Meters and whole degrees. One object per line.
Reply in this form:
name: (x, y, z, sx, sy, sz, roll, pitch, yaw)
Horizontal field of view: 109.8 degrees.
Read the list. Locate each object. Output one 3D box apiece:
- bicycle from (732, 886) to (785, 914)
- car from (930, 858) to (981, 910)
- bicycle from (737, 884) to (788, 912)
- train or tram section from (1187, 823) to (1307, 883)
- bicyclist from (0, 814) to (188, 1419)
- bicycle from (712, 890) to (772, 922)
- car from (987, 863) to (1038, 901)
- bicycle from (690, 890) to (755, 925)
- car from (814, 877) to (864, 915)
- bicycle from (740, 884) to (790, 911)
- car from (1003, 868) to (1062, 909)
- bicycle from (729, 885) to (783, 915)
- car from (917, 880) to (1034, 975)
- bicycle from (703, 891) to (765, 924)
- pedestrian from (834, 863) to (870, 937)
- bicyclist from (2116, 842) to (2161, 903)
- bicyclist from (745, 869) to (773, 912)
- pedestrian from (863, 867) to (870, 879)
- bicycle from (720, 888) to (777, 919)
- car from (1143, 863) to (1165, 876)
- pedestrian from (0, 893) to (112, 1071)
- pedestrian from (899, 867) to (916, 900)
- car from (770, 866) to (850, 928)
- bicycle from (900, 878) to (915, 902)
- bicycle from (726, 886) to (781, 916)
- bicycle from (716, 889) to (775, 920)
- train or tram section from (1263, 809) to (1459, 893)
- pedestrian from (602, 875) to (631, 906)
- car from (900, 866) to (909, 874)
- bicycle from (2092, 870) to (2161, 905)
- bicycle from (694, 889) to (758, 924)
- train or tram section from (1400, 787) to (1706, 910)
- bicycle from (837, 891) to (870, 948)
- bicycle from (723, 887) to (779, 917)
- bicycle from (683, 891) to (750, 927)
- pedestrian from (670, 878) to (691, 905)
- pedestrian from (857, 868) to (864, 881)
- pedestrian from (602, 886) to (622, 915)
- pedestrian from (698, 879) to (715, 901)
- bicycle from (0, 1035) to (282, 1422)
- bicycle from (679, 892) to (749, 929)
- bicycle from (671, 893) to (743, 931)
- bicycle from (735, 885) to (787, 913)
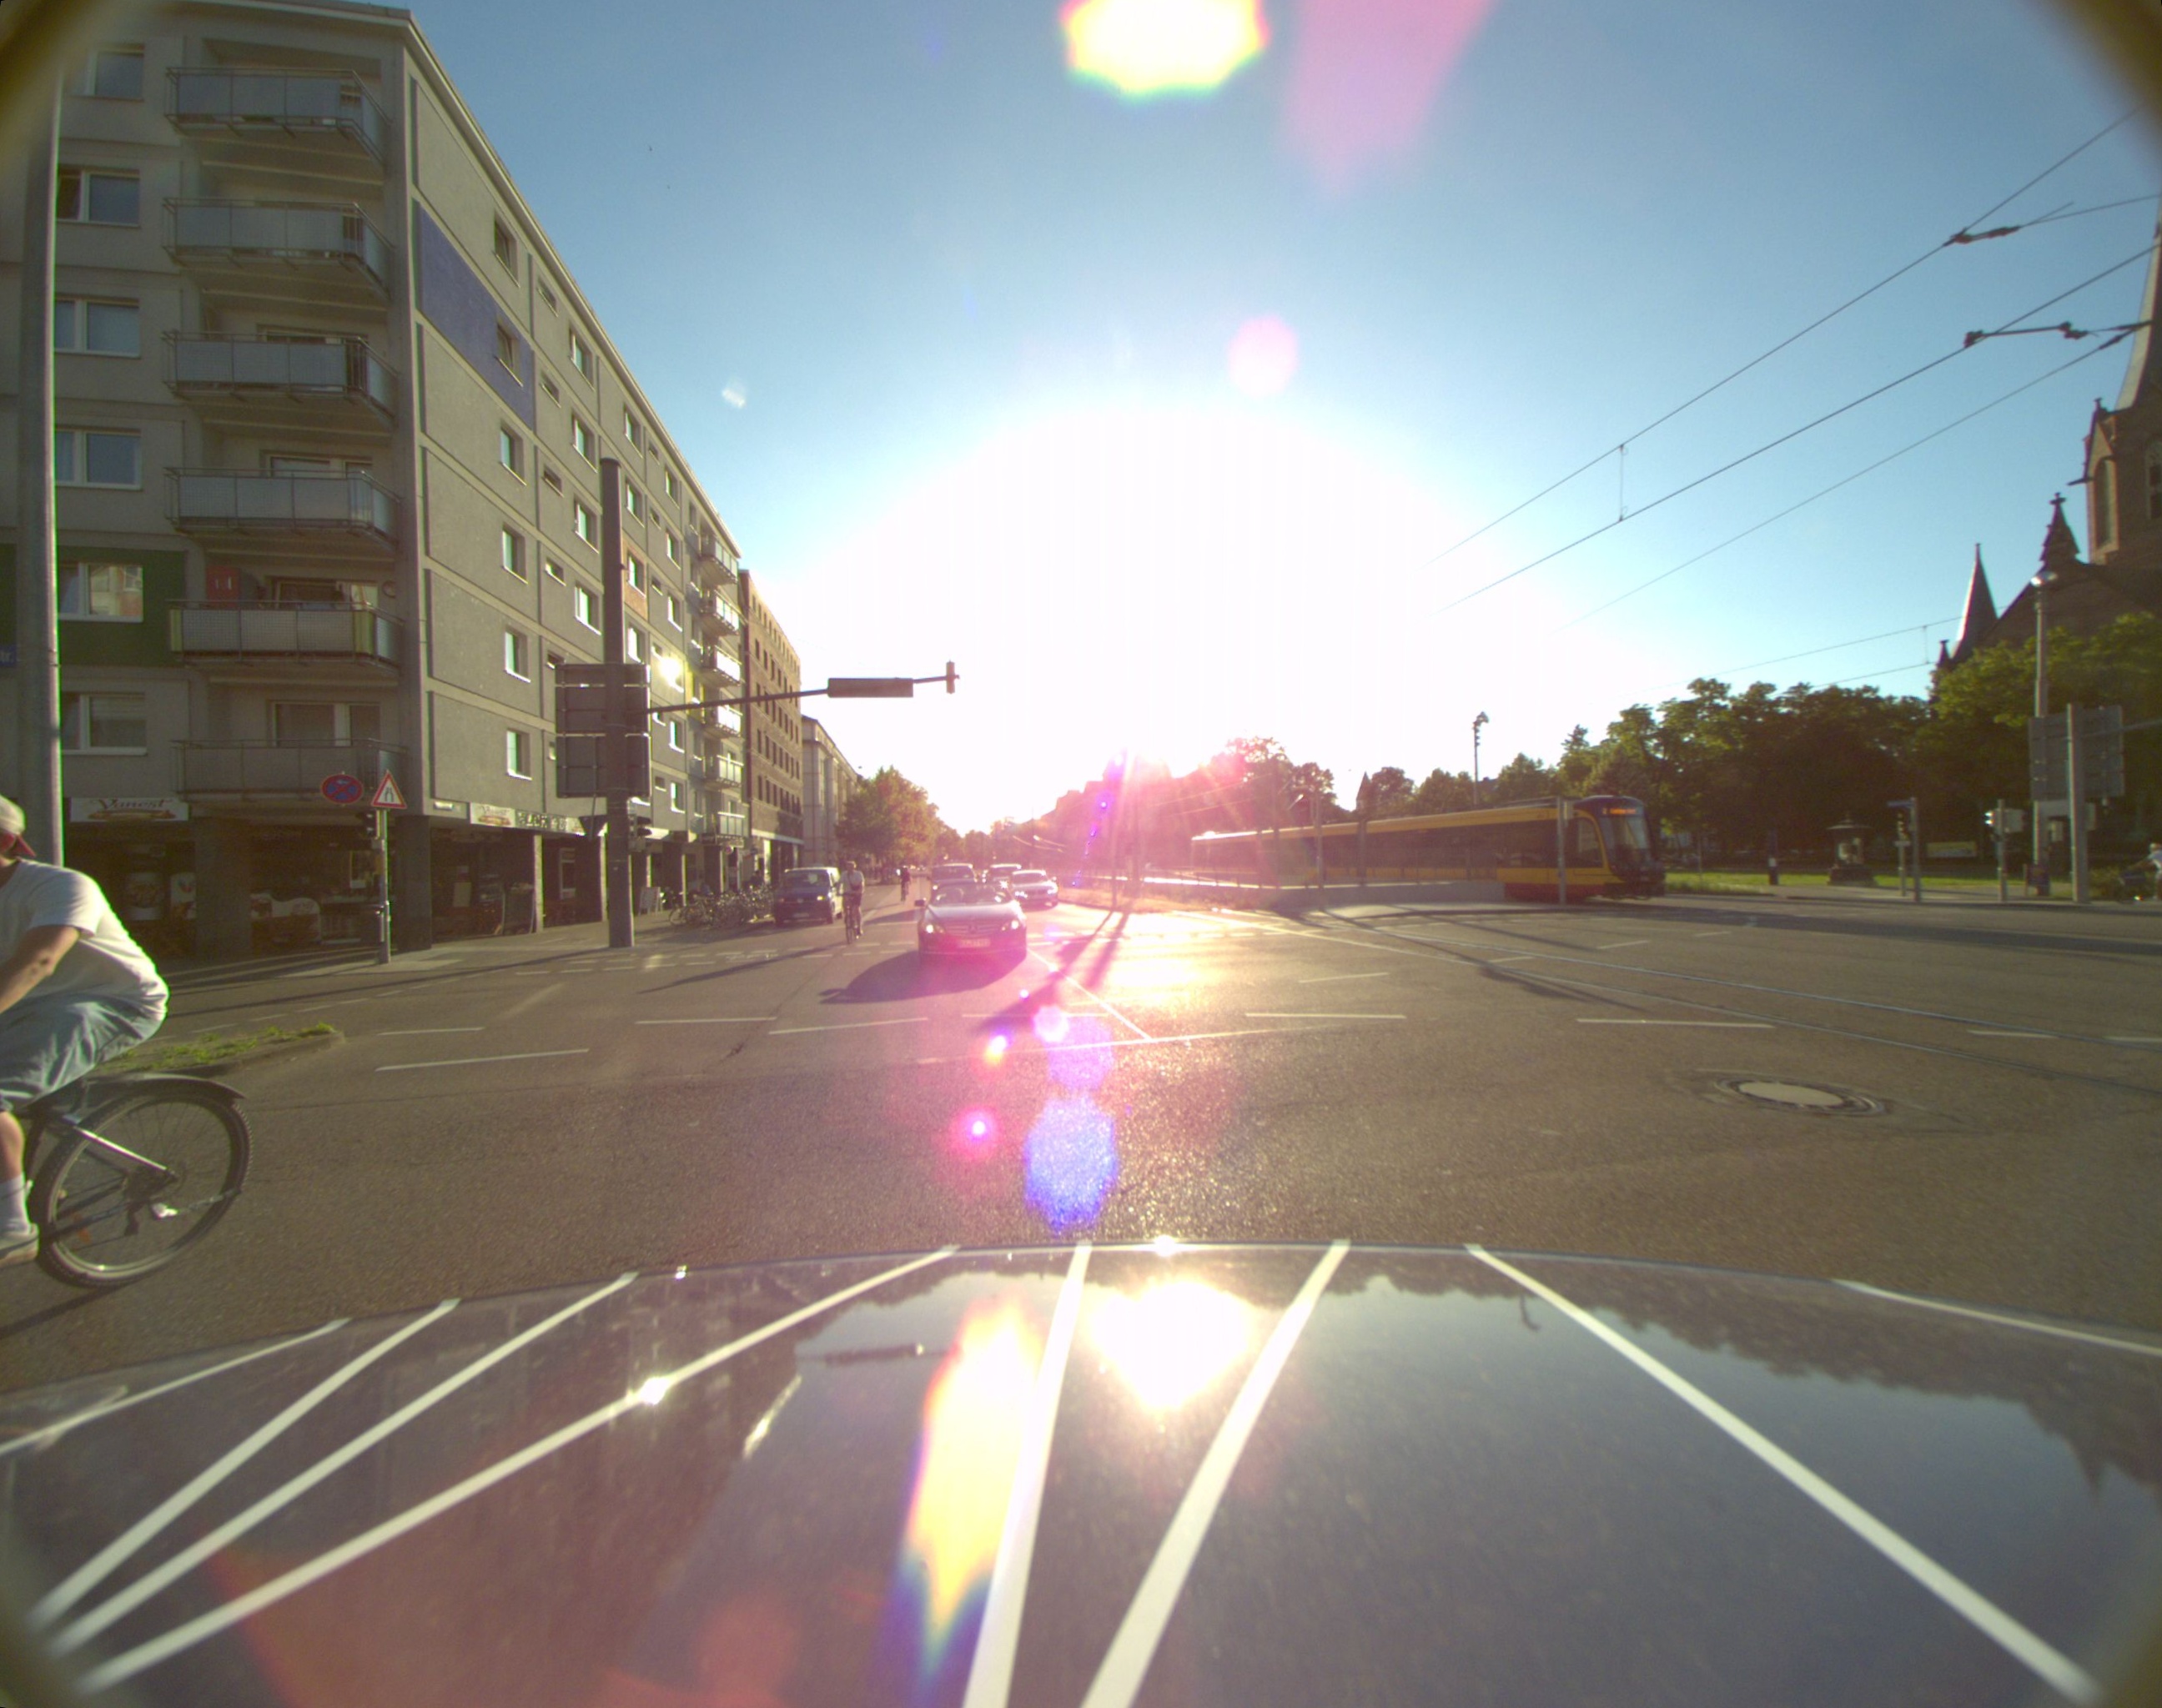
bicycle: (-12.941, 1.844, 30.507, 1.875, 1.119, 0.567, 1, 0, -15)
car: (-5.489, 1.220, 32.781, 1.922, 1.978, 4.942, -2, 0, -12)
bicycle: (-13.230, 1.828, 31.614, 1.875, 1.119, 0.567, 1, 0, -15)
train or tram section: (10.894, -0.001, 51.980, 2.783, 3.515, 13.238, -2, 0, -12)
bicyclist: (-3.643, 0.790, 2.189, 0.828, 1.797, 1.057, -2, 0, -2)
bicycle: (-12.102, 1.850, 27.170, 1.875, 1.119, 0.567, 1, 0, -15)
car: (-3.610, 1.366, 39.309, 1.958, 1.702, 4.846, -4, 0, -12)
bicycle: (-11.905, 1.774, 25.279, 1.875, 1.119, 0.567, 1, 0, -15)
car: (-10.952, 1.847, 34.544, 1.689, 1.471, 3.536, -3, 0, -11)
bicycle: (-13.374, 1.838, 32.170, 1.875, 1.119, 0.567, 1, 0, -15)
car: (-2.081, 1.366, 31.544, 1.844, 1.392, 4.580, -4, 0, -10)
bicycle: (-12.788, 1.818, 29.954, 1.875, 1.119, 0.567, 1, 0, -15)
car: (-2.075, 1.210, 13.924, 1.778, 1.300, 4.236, -2, 0, -12)
bicycle: (-12.096, 1.868, 26.526, 1.875, 1.119, 0.567, 1, 0, -15)
pedestrian: (-5.303, 1.053, 17.620, 0.640, 1.639, 0.842, -3, 0, -12)
bicyclist: (32.653, 0.560, 23.288, 0.575, 1.816, 0.894, -3, 0, -12)
bicyclist: (-14.102, 1.596, 33.289, 0.744, 1.797, 1.385, -2, 0, -9)
pedestrian: (-26.814, 2.403, 94.997, 0.729, 1.431, 0.923, -2, 0, -12)
bicycle: (-12.368, 1.840, 28.287, 1.875, 1.119, 0.567, 1, 0, -15)
car: (9.053, 1.899, 94.871, 1.716, 1.531, 3.670, -2, 0, -11)
pedestrian: (-10.913, 1.277, 7.754, 0.664, 1.694, 1.071, -1, 0, -6)
pedestrian: (-8.935, 1.526, 39.189, 0.679, 1.639, 0.901, -3, 0, -8)
car: (-9.502, 1.428, 26.993, 1.943, 1.922, 4.827, -1, 0, -11)
bicycle: (-8.939, 1.857, 39.159, 0.530, 1.152, 1.848, -3, 0, -8)
bicycle: (-12.647, 1.807, 29.395, 1.875, 1.119, 0.567, 1, 0, -15)
bicycle: (-12.227, 1.839, 27.731, 1.875, 1.119, 0.567, 1, 0, -15)
train or tram section: (13.577, -0.067, 39.010, 2.783, 3.515, 13.238, -2, 0, -12)
pedestrian: (-19.308, 1.523, 31.587, 0.858, 1.266, 0.648, -2, 0, 26)
car: (-37.090, 3.351, 159.866, 1.776, 1.473, 4.305, -1, 0, -11)
bicycle: (32.648, 1.022, 23.290, 0.525, 1.020, 1.928, -3, 0, -12)
bicycle: (-12.040, 1.781, 25.839, 1.875, 1.119, 0.567, 1, 0, -15)
train or tram section: (15.997, -0.140, 27.349, 2.783, 3.515, 10.560, -2, 0, -12)
bicycle: (-5.300, 1.498, 17.769, 0.530, 1.152, 1.847, -3, 0, -12)
bicycle: (-12.509, 1.821, 28.842, 1.875, 1.119, 0.567, 1, 0, -15)
bicycle: (-11.811, 1.788, 24.683, 1.875, 1.119, 0.606, 1, 0, -15)
pedestrian: (-20.170, 1.883, 38.286, 0.647, 1.287, 0.953, -2, 0, -9)
pedestrian: (-27.564, 2.556, 94.866, 0.729, 1.666, 0.923, -1, 0, -12)
pedestrian: (-18.993, 1.873, 30.787, 0.648, 1.093, 0.543, -2, 0, -33)
pedestrian: (-20.005, 1.902, 40.588, 0.606, 1.145, 0.727, -2, 0, -12)
bicycle: (-3.642, 1.276, 2.256, 0.479, 1.022, 1.981, 0, -1, -1)
bicycle: (-11.611, 1.785, 24.074, 1.874, 1.055, 0.606, -1, 0, -14)
bicycle: (-11.523, 1.779, 23.460, 1.874, 1.055, 0.606, -1, 0, -14)
bicycle: (-13.084, 1.839, 31.062, 1.875, 1.119, 0.567, 1, 0, -15)
